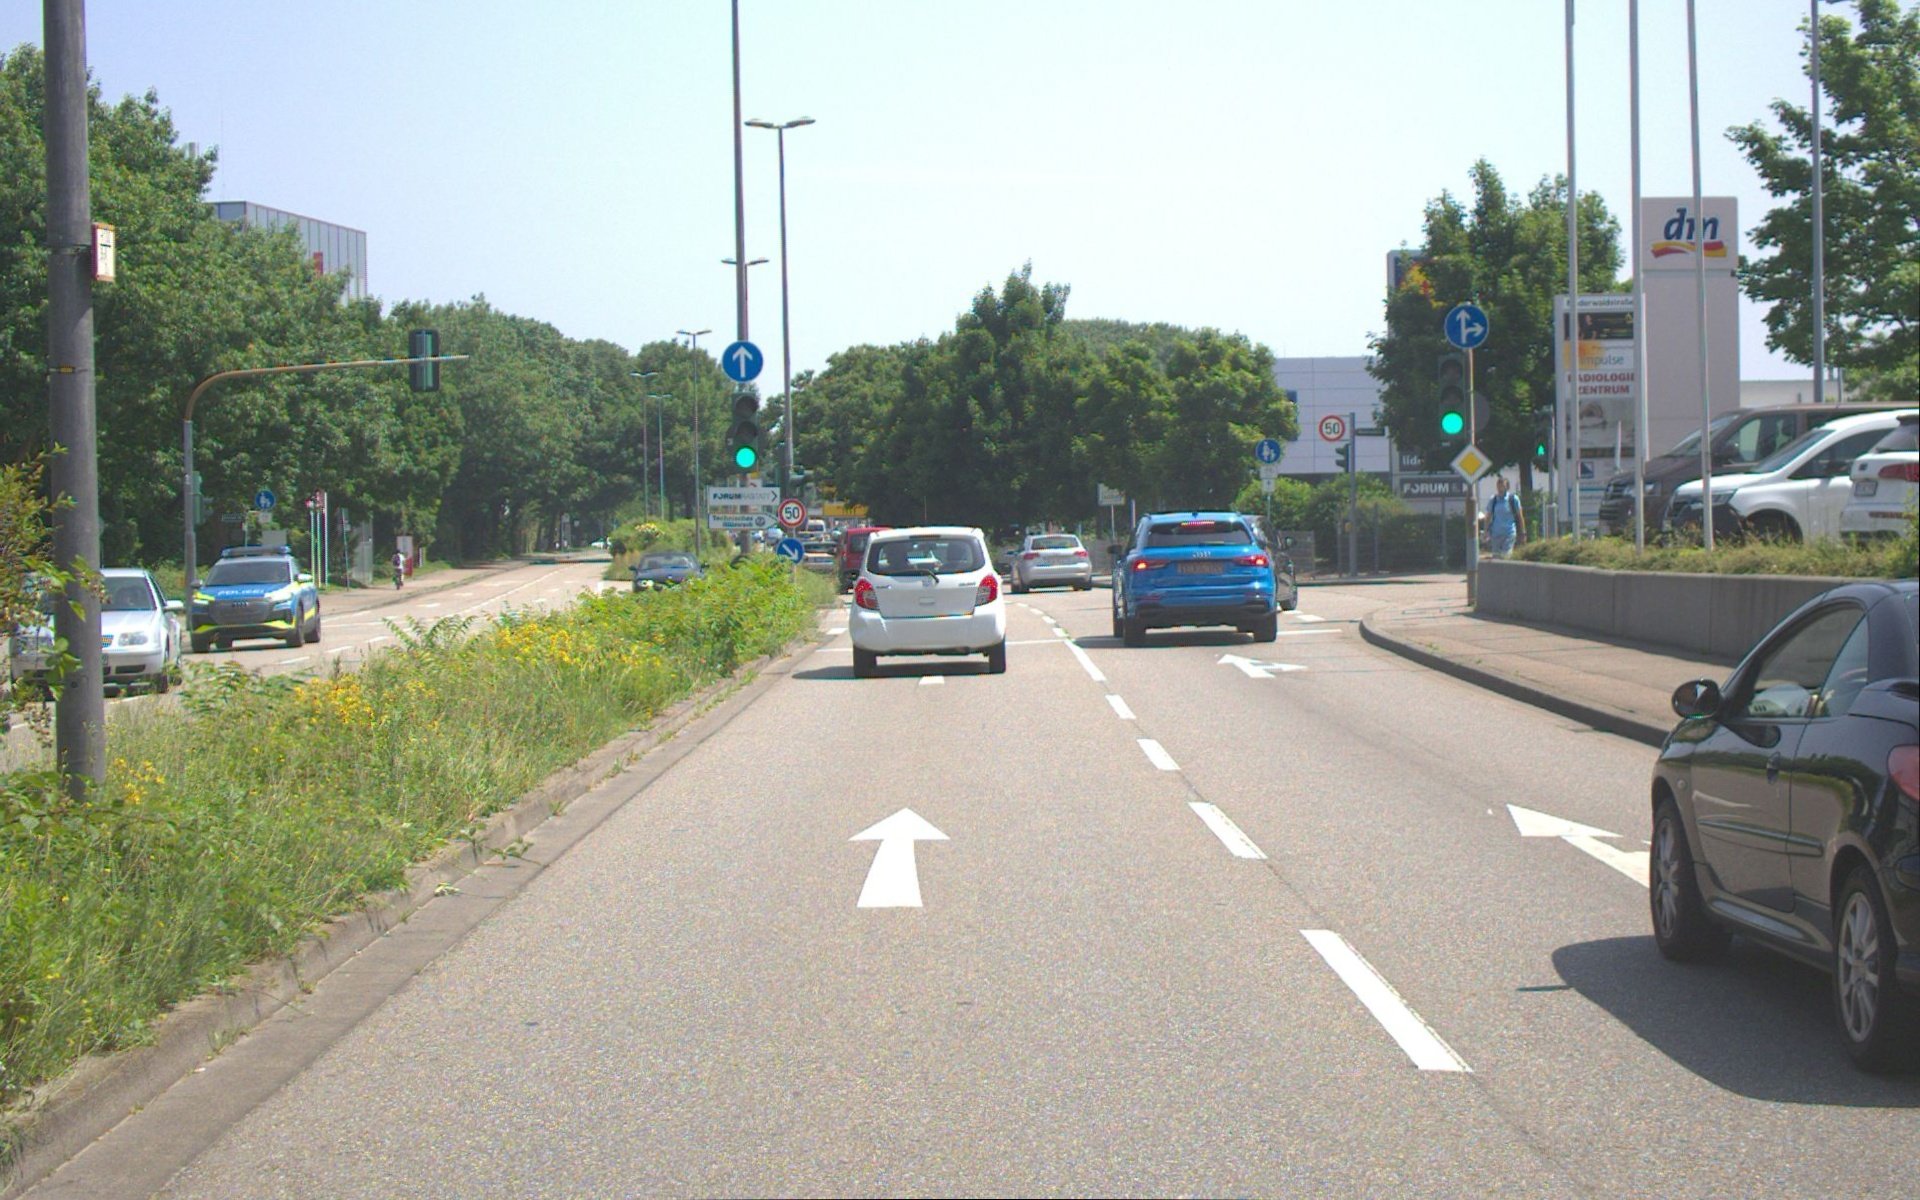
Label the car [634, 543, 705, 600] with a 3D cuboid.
[{"bbox_3d":[-6.870,-0.681,81.065,1.573,1.264,3.731,-1,1,-6],"label":"car"}]

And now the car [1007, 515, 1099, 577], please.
[{"bbox_3d":[2.237,-1.316,83.550,1.993,1.415,4.000,-2,1,-1],"label":"car"}]

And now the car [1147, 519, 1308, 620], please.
[{"bbox_3d":[3.869,-0.458,49.321,1.459,1.371,3.488,-1,1,19],"label":"car"}]

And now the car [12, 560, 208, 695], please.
[{"bbox_3d":[-9.782,0.270,39.841,1.735,1.408,4.373,-1,1,-8],"label":"car"}]

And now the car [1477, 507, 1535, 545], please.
[{"bbox_3d":[18.762,-2.540,118.265,1.504,1.257,3.165,-1,1,1],"label":"car"}]

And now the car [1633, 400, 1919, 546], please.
[{"bbox_3d":[10.114,-1.459,39.293,4.346,1.539,2.000,-2,1,-3],"label":"car"}]

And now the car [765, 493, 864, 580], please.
[{"bbox_3d":[-3.045,-1.340,71.241,1.819,1.656,4.001,-1,2,-5],"label":"car"}]

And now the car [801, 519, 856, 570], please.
[{"bbox_3d":[-4.502,-1.915,118.083,1.797,1.684,4.000,-2,1,-1],"label":"car"}]

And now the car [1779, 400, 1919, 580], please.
[{"bbox_3d":[9.888,-1.041,30.841,4.535,1.539,2.000,-2,1,-1],"label":"car"}]

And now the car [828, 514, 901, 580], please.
[{"bbox_3d":[-2.645,-1.456,94.269,1.775,1.734,4.001,-1,1,-4],"label":"car"}]

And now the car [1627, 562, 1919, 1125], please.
[{"bbox_3d":[3.258,0.618,10.655,1.627,1.359,3.606,1,2,-1],"label":"car"}]

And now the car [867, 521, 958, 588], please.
[{"bbox_3d":[-1.122,-1.060,78.774,1.993,1.437,4.001,-1,1,-2],"label":"car"}]

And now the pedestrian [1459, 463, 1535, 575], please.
[{"bbox_3d":[7.861,-1.189,50.280,0.775,1.602,1.083,-1,1,27],"label":"pedestrian"}]

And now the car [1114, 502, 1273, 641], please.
[{"bbox_3d":[2.836,-0.385,42.349,1.828,1.574,3.605,-1,2,2],"label":"car"}]

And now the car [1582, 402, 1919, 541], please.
[{"bbox_3d":[9.844,-1.566,42.107,3.986,1.539,2.000,-2,1,-3],"label":"car"}]

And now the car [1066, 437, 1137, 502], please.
[{"bbox_3d":[4.515,-4.187,110.484,1.769,2.006,3.992,-2,2,-4],"label":"car"}]

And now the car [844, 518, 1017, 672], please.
[{"bbox_3d":[-0.294,-0.092,36.825,1.748,1.515,3.746,0,2,0],"label":"car"}]
